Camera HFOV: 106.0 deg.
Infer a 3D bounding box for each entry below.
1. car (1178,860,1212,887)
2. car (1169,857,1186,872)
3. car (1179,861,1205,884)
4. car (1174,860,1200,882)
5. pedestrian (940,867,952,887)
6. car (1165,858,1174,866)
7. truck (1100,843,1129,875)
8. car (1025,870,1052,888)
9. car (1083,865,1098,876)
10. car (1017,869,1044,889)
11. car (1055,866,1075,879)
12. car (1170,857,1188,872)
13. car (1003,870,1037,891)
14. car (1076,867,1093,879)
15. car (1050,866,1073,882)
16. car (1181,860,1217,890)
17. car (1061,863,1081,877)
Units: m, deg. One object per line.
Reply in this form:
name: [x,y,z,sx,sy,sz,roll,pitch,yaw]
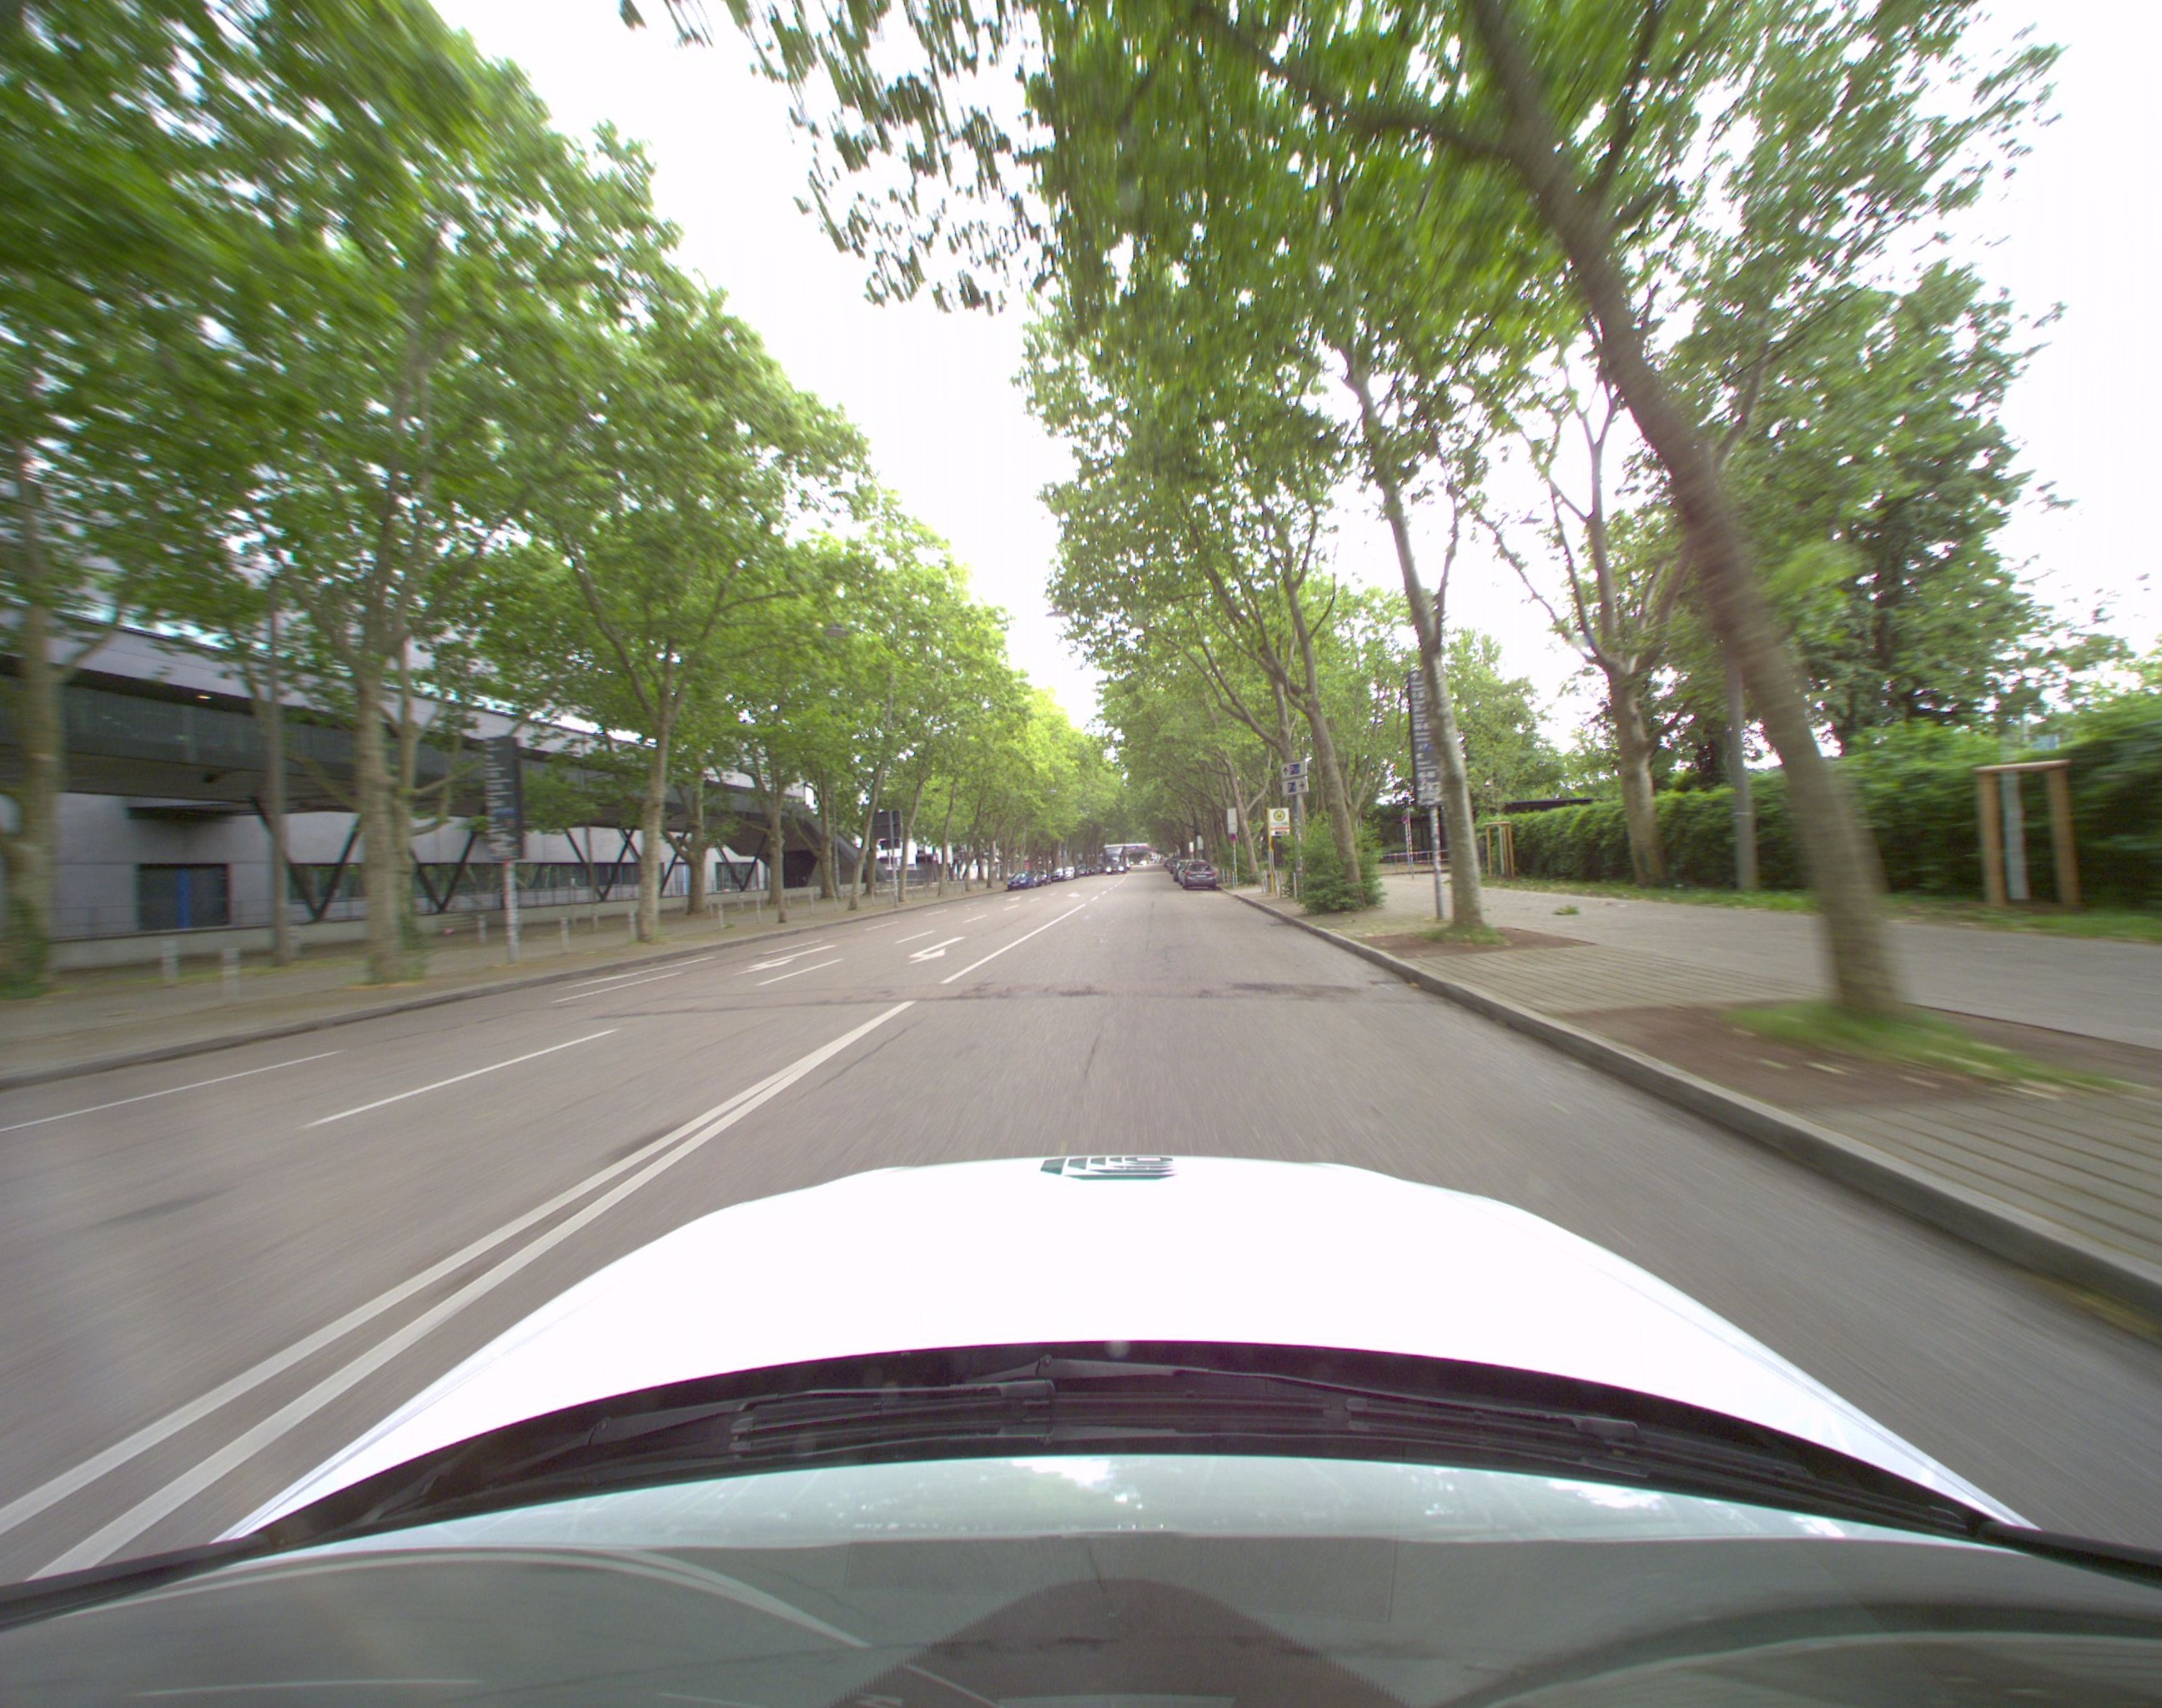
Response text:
car: [6.958,1.150,50.137,1.712,1.567,4.097,1,-1,3]
car: [11.380,1.245,96.467,1.748,1.534,3.934,-4,-1,5]
car: [7.481,1.230,55.189,1.666,1.490,3.693,1,-1,7]
car: [7.742,1.228,59.727,1.747,1.490,4.422,1,-1,5]
pedestrian: [-12.859,2.215,77.687,0.774,1.835,0.870,-2,-1,-30]
car: [18.769,1.705,173.355,1.747,1.534,3.934,-1,-1,5]
truck: [4.590,0.668,109.440,2.627,3.901,9.560,-5,-1,7]
car: [-3.755,2.246,72.870,1.757,1.418,3.766,-6,-2,5]
car: [1.461,2.556,122.517,1.887,1.438,4.003,-4,-2,4]
car: [-4.234,2.078,68.334,1.759,1.418,3.763,-6,-2,2]
car: [-1.748,2.049,90.161,1.724,1.332,4.004,-4,-2,5]
car: [10.866,1.157,90.486,1.747,1.534,3.934,-1,-1,5]
car: [-4.702,2.081,63.571,1.685,1.418,3.771,-6,-2,9]
car: [0.465,2.583,110.135,1.887,1.438,4.003,-4,-2,4]
car: [-1.934,2.061,82.900,1.757,1.418,3.766,-6,-2,5]
car: [6.364,1.103,44.419,1.691,1.519,4.460,1,0,5]
car: [-1.142,1.931,95.855,1.887,1.438,4.003,-4,-2,4]
